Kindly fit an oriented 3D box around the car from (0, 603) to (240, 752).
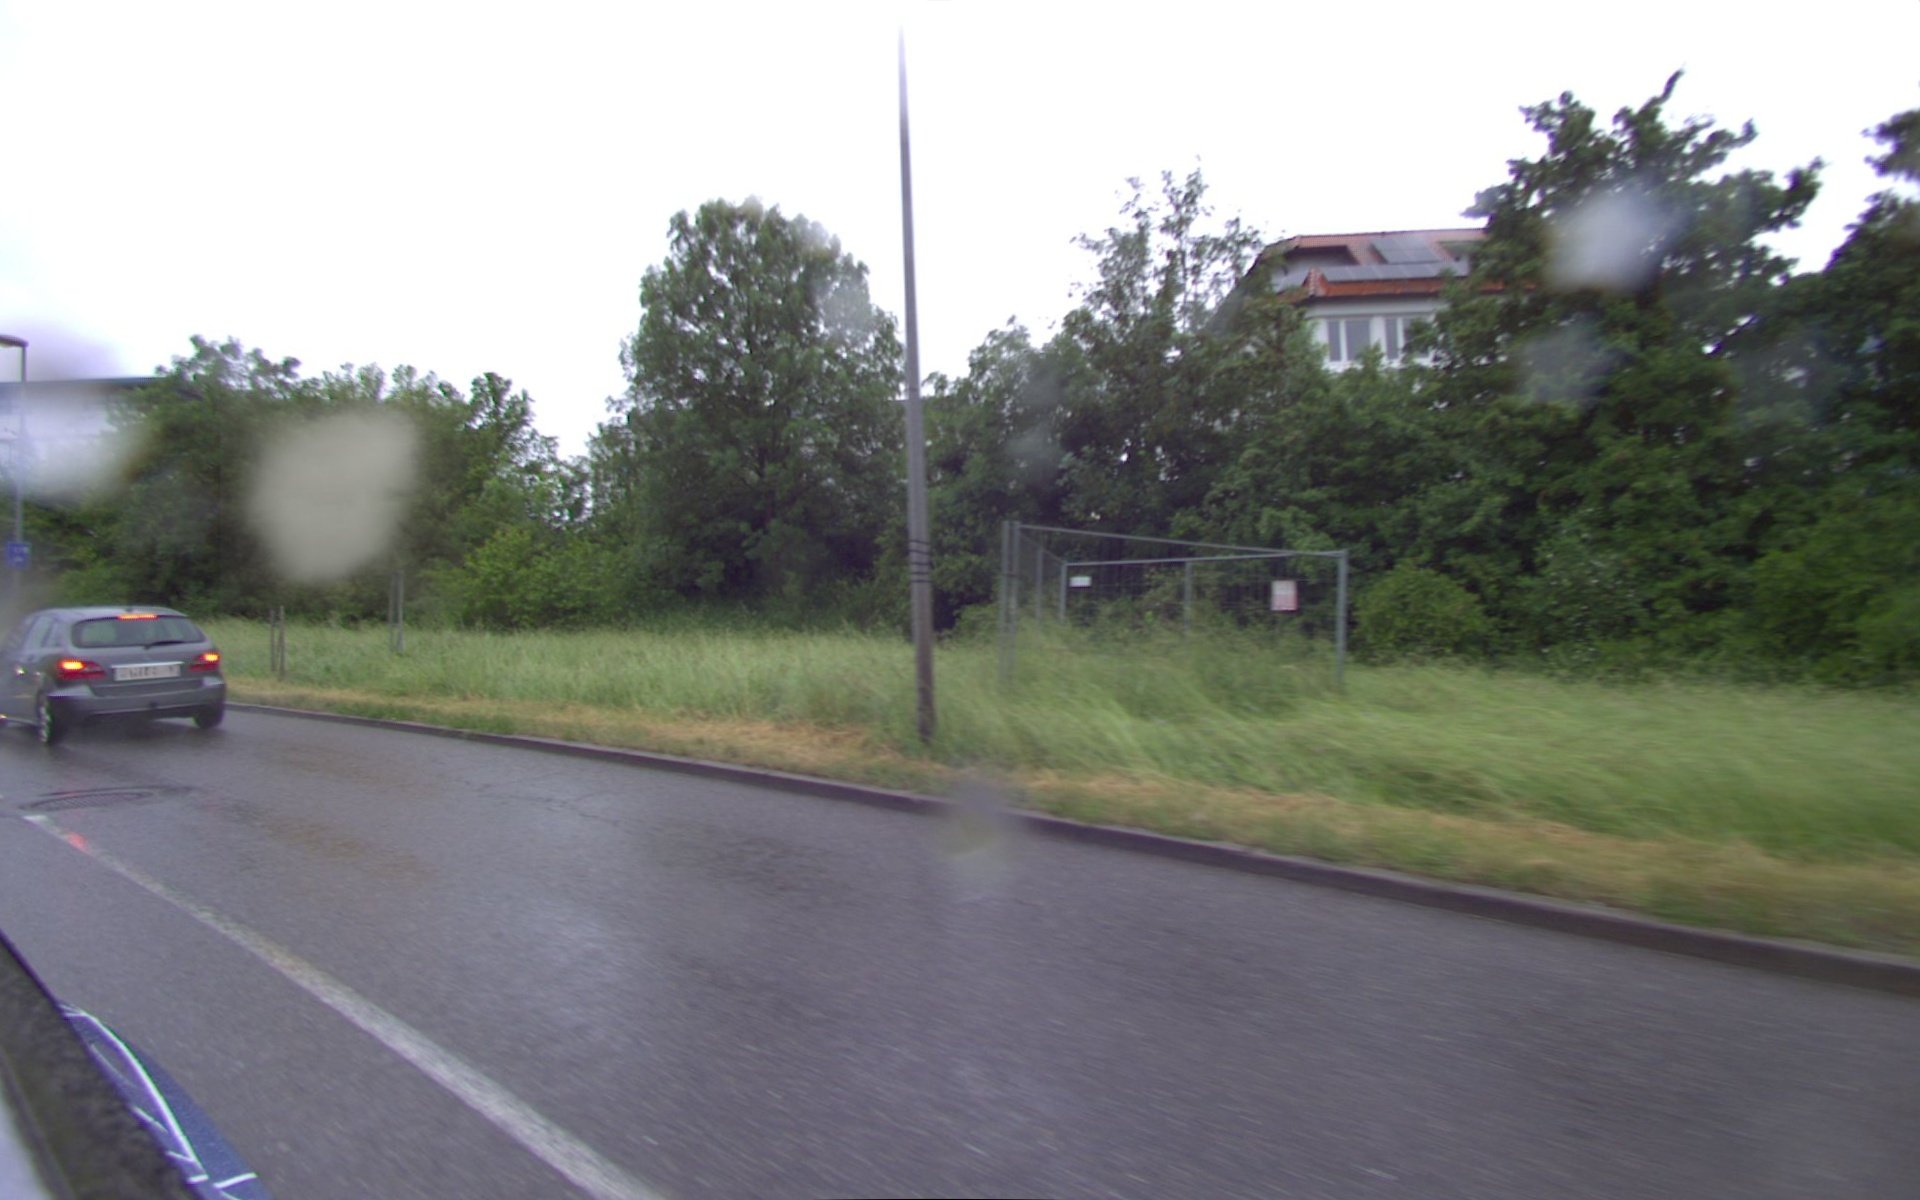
[{"bbox_3d":[-11.232,0.882,13.090,4.257,1.563,1.848,-1,1,36],"label":"car"}]
